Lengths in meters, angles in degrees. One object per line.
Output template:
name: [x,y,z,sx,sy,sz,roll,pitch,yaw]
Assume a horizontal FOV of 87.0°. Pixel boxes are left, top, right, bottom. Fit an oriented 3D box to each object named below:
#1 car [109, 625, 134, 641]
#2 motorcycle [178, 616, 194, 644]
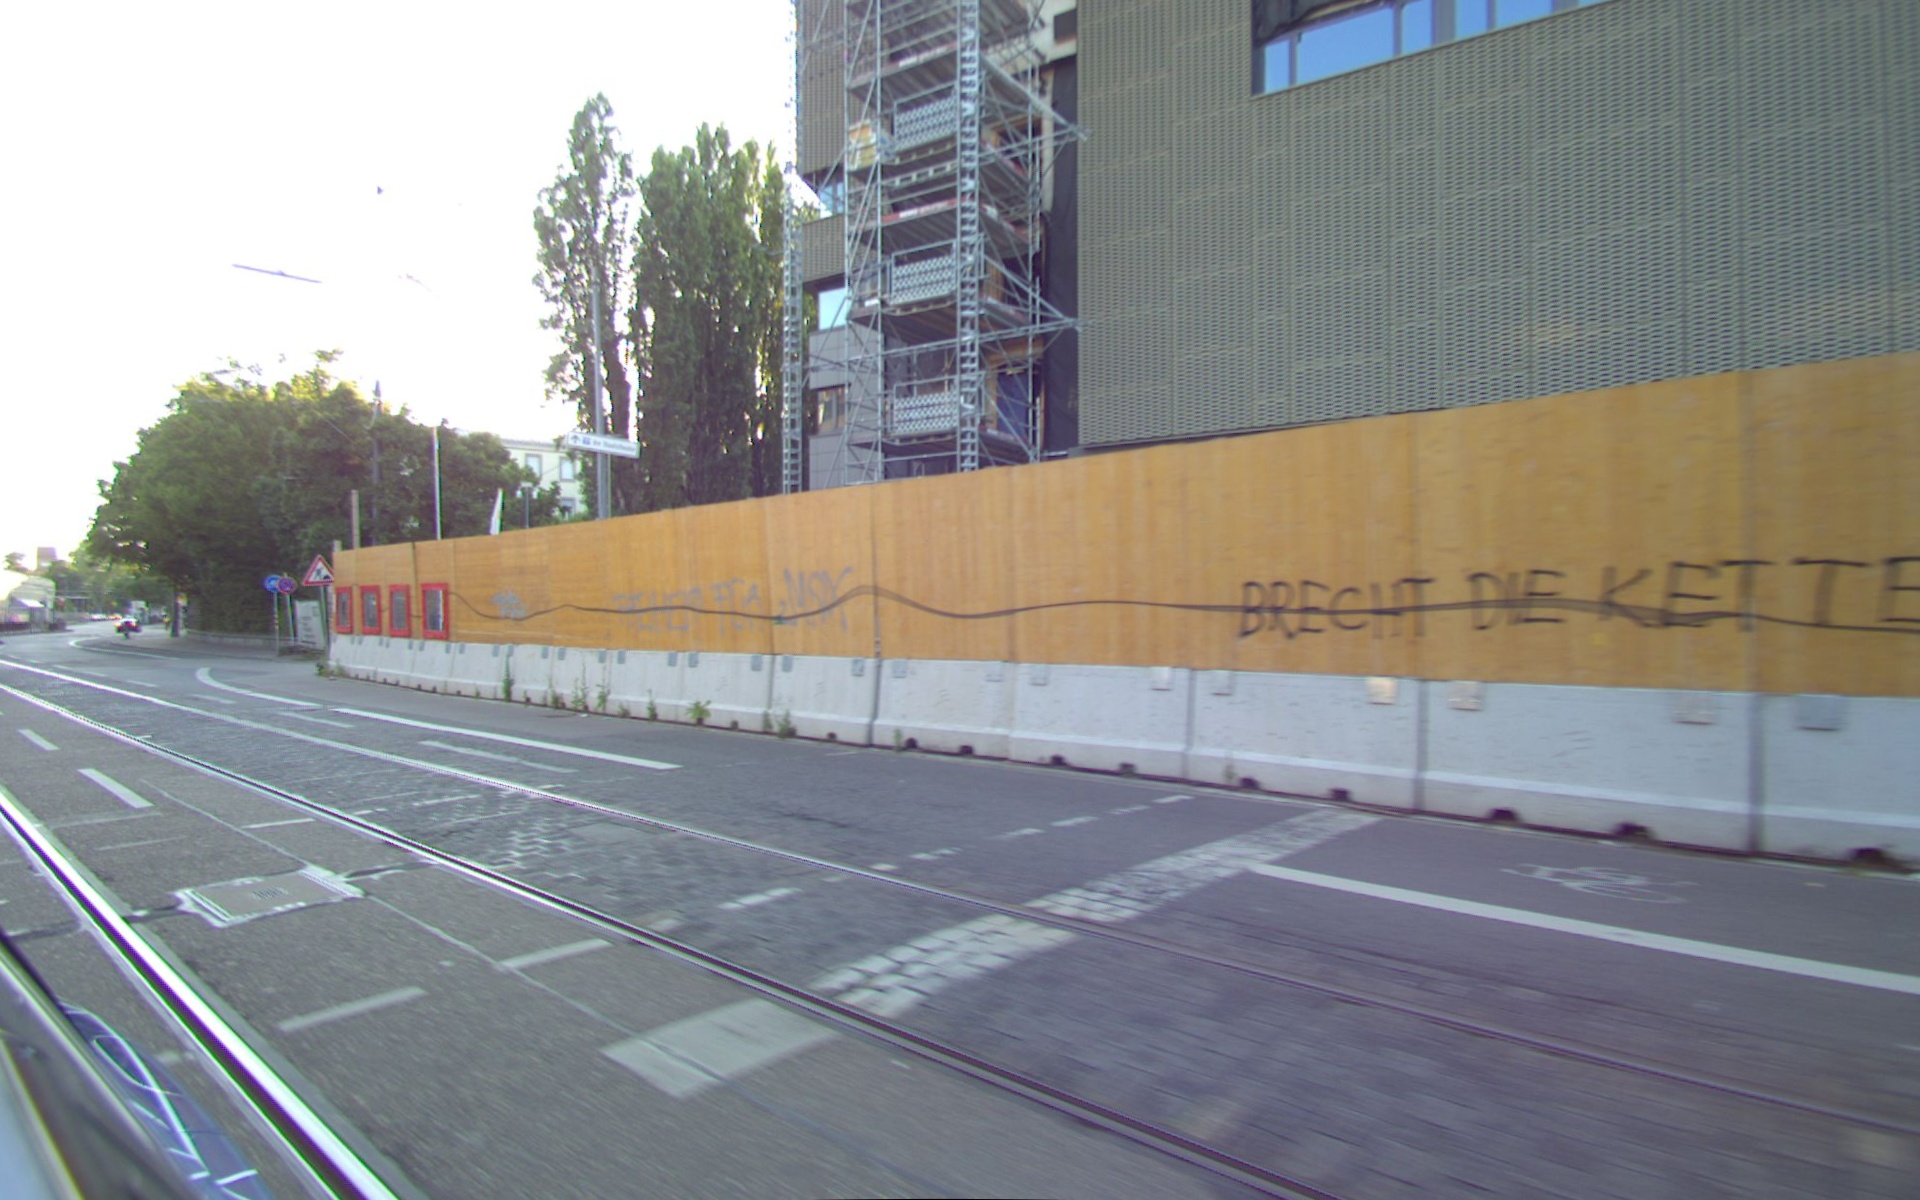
car: [-91.907,3.634,110.966,1.968,1.697,4.007,1,-2,-39]
motorcycle: [-69.987,2.698,91.462,1.007,2.461,2.672,1,-2,-40]
